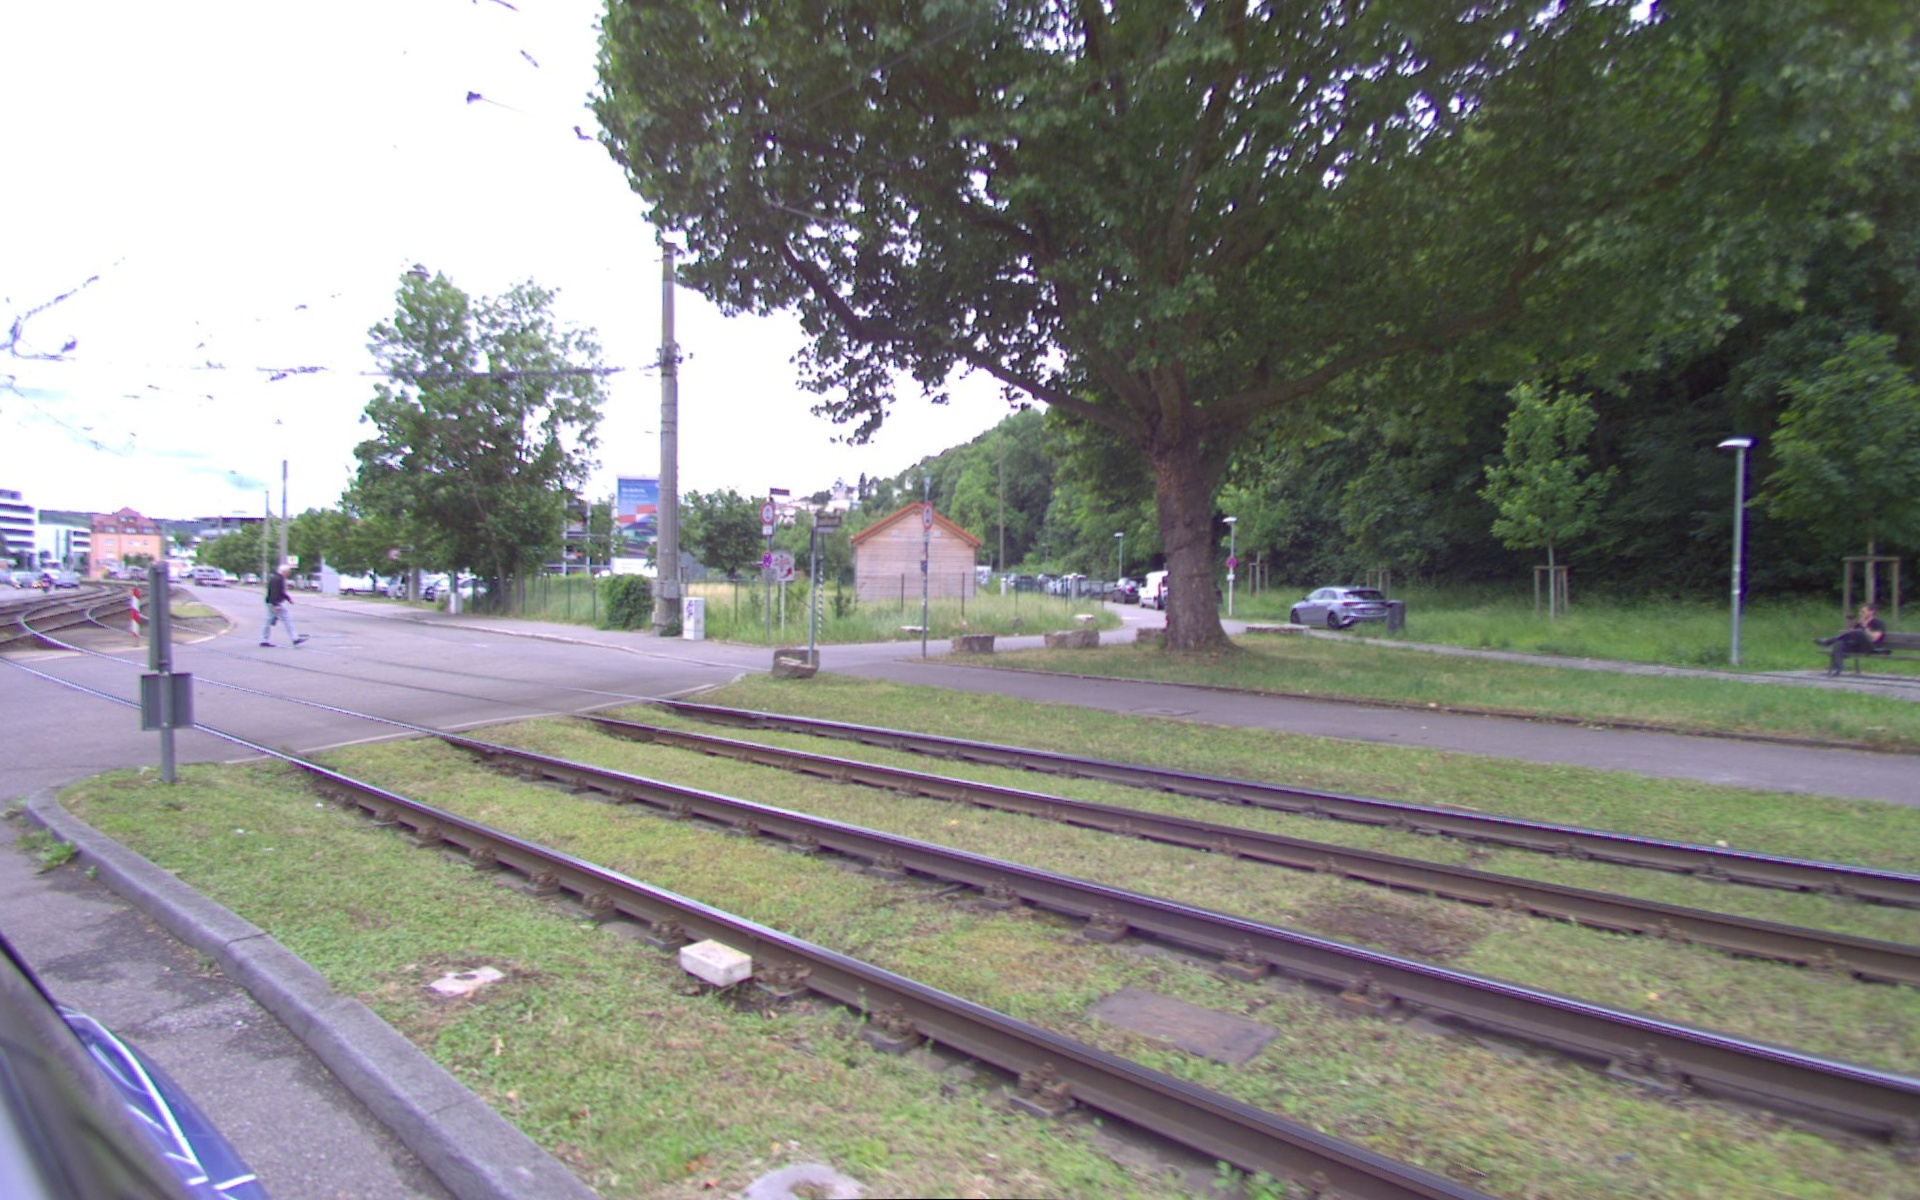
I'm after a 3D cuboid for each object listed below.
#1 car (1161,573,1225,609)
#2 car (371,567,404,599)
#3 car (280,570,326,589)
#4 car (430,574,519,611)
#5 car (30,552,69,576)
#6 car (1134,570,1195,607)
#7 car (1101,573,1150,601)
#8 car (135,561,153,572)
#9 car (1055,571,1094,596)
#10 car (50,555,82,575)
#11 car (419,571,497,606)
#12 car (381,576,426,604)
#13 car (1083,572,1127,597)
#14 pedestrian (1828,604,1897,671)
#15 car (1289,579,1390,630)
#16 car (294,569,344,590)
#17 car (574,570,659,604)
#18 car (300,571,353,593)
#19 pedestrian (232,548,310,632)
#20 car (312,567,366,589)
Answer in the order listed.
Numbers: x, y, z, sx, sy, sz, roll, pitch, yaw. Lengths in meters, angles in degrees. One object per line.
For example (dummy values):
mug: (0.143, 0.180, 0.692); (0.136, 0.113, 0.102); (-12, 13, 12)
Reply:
car: (10.260, -0.417, 44.808); (1.674, 1.434, 3.509); (-2, 3, -6)
car: (-56.462, -1.705, 99.684); (2.283, 3.033, 6.176); (-3, 3, -33)
car: (-82.361, -2.560, 126.872); (4.568, 2.225, 2.112); (-4, 4, -41)
car: (-33.401, -0.531, 69.737); (5.186, 2.284, 2.005); (-3, 3, -36)
car: (-68.607, -2.700, 76.329); (1.840, 1.762, 4.008); (-3, 3, -38)
car: (10.055, -0.609, 49.954); (1.880, 1.625, 3.687); (-2, 3, -6)
car: (9.198, -0.768, 56.459); (1.730, 1.387, 3.687); (-2, 3, -6)
car: (-130.062, -5.329, 161.322); (1.875, 1.730, 4.147); (-2, 4, -35)
car: (7.884, -1.175, 70.167); (1.729, 1.625, 3.689); (-2, 3, -9)
car: (-80.845, -3.159, 91.571); (1.840, 1.762, 4.008); (-3, 3, -38)
car: (-35.943, -0.827, 72.483); (4.699, 2.284, 1.985); (-3, 3, -36)
car: (-44.868, -0.821, 81.518); (2.110, 2.131, 4.783); (-4, 4, -41)
car: (8.833, -0.960, 61.852); (1.730, 1.387, 3.687); (-2, 3, -6)
pedestrian: (14.264, 0.585, 16.000); (0.523, 0.997, 0.622); (-2, 3, -17)
car: (12.260, 0.110, 32.919); (1.674, 1.434, 3.509); (-2, 3, -6)
car: (-73.387, -2.410, 115.913); (4.568, 2.225, 2.112); (-4, 4, -41)
car: (-25.703, -1.000, 75.842); (5.756, 2.284, 2.058); (-2, 3, -11)
car: (-69.999, -2.039, 111.878); (4.568, 2.225, 2.112); (-4, 4, -41)
pedestrian: (-14.896, -0.233, 21.908); (0.805, 1.773, 1.117); (-1, 2, 11)
car: (-66.366, -2.392, 108.152); (4.568, 2.225, 2.112); (-4, 4, -41)
